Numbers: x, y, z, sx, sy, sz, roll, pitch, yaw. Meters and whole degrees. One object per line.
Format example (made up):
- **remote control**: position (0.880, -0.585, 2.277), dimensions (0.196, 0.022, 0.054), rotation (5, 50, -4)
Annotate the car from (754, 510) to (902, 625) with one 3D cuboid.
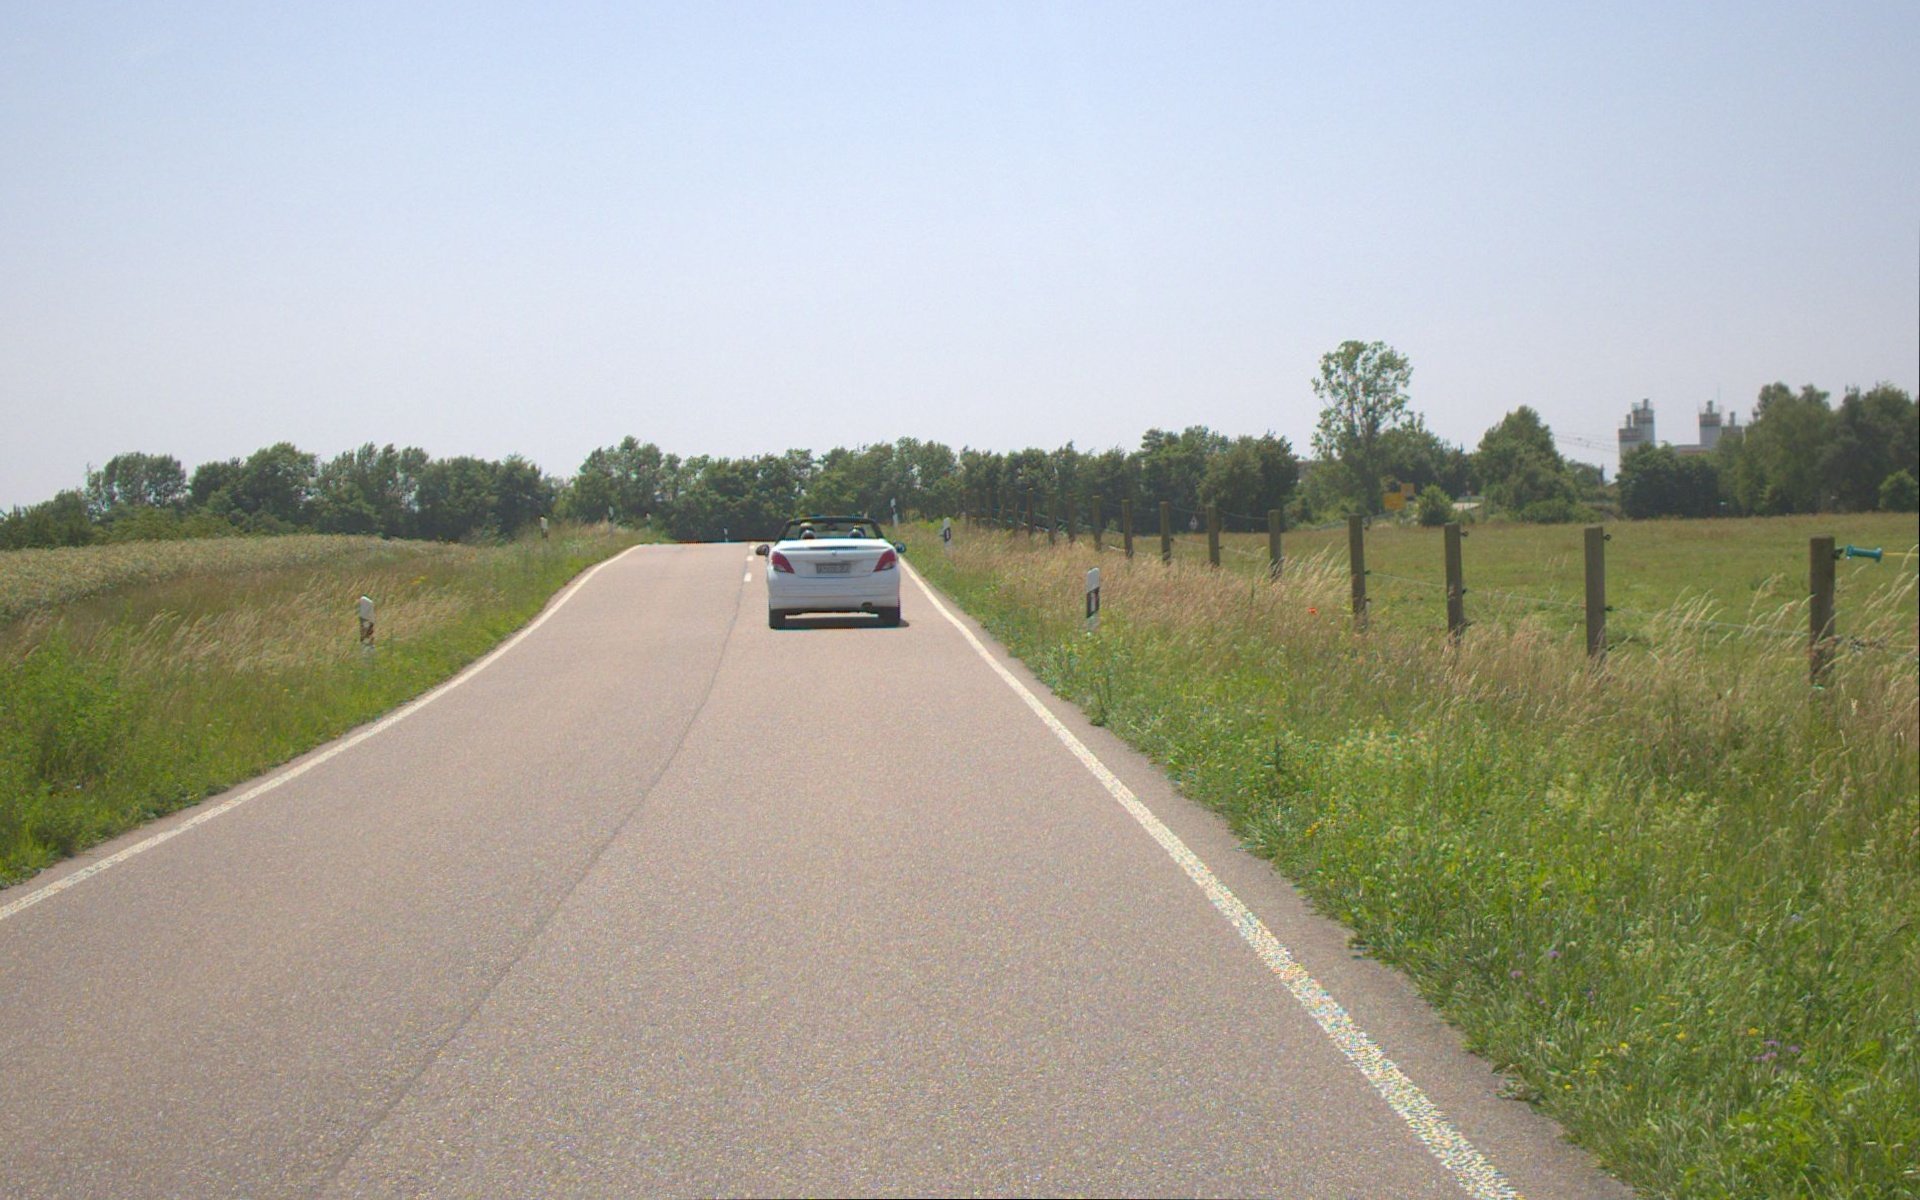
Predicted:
- **car**: position (-1.750, -0.461, 44.986), dimensions (1.850, 1.374, 4.001), rotation (0, 2, -3)
